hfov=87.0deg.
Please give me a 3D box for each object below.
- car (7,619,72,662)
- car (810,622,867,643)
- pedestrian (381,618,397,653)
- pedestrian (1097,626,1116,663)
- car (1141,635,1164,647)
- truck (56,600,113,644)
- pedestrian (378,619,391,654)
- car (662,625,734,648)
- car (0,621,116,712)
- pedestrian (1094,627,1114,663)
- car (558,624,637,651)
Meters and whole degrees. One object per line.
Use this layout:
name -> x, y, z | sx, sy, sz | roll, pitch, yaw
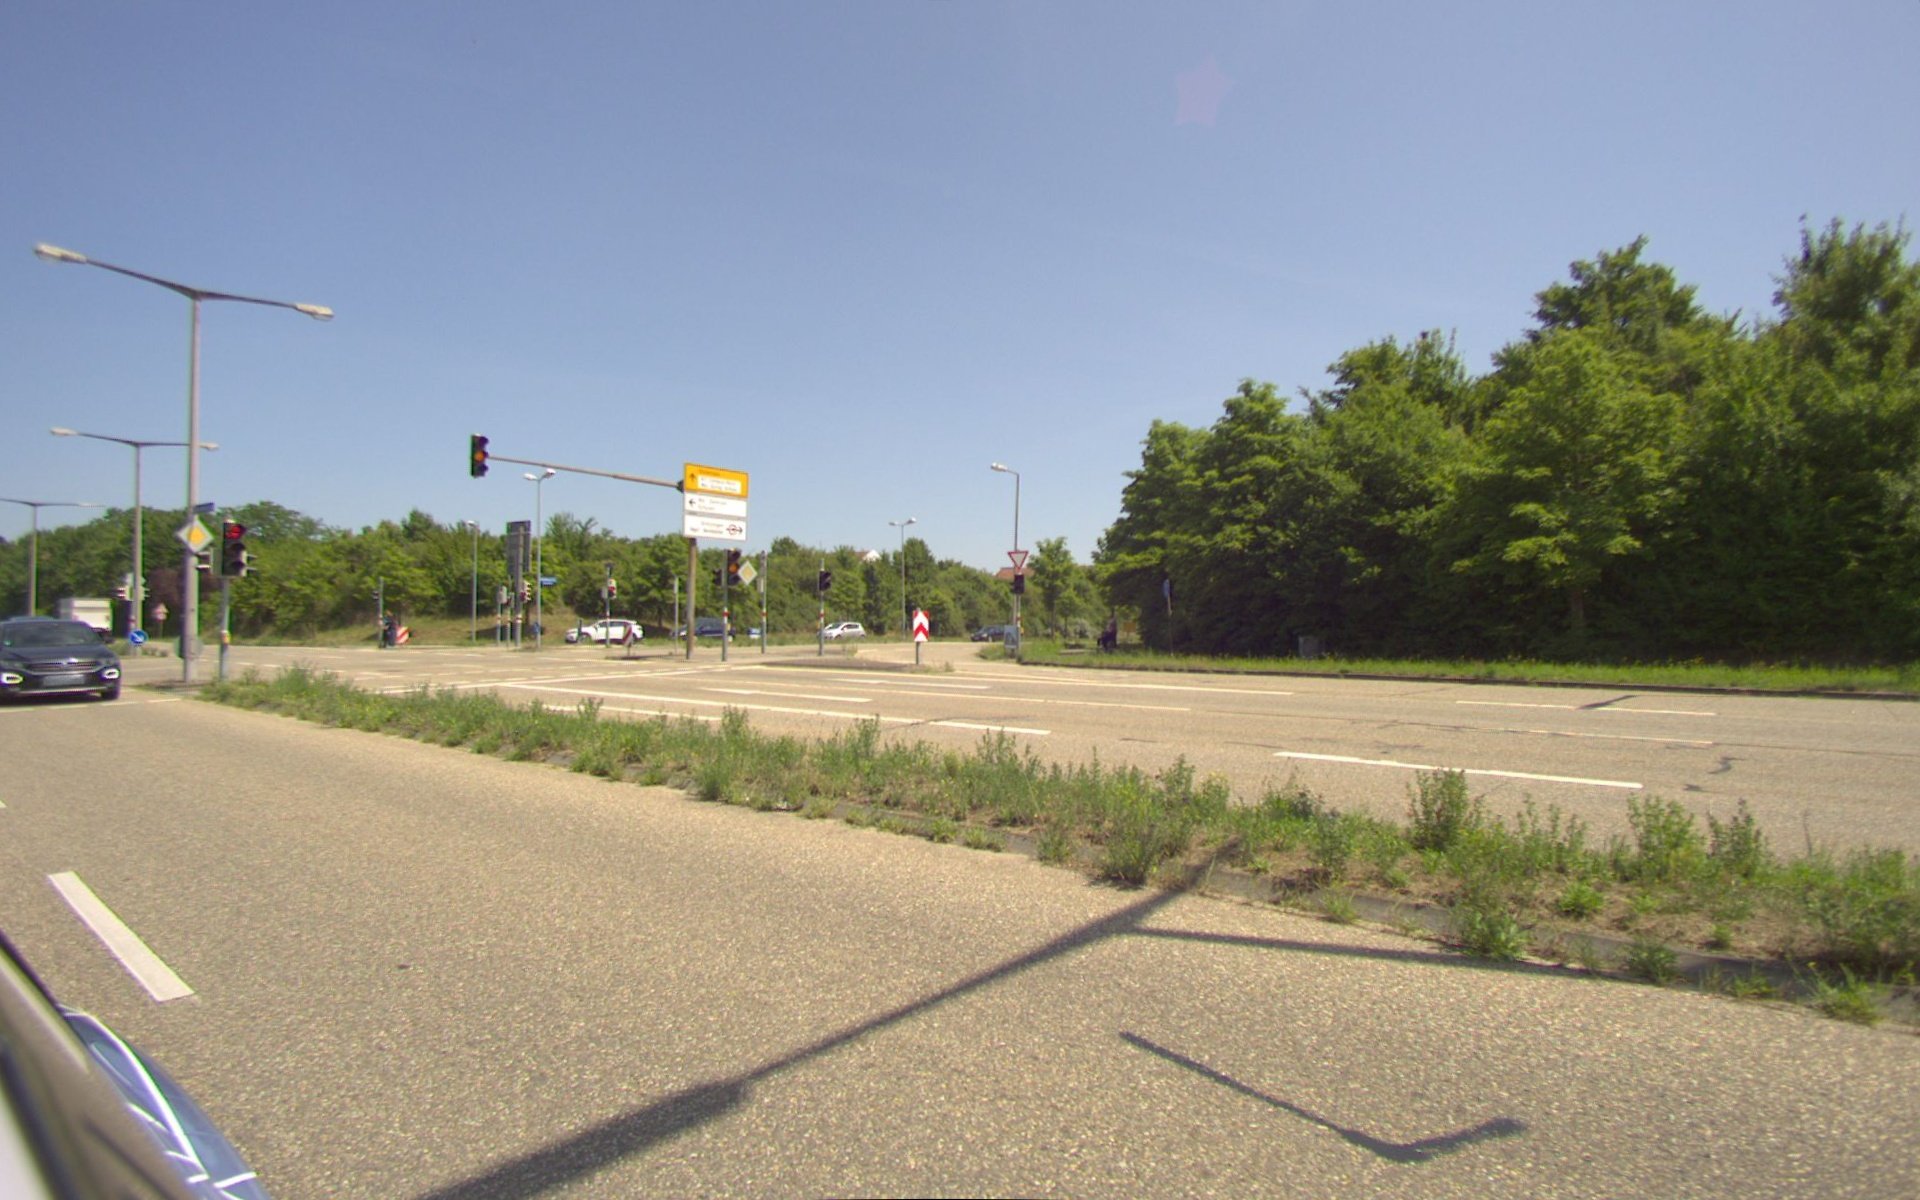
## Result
car -> -41.020, 1.775, 45.089 | 4.320, 1.840, 1.713 | -2, -2, 42
car -> -8.371, 2.246, 69.970 | 1.630, 1.371, 3.951 | -1, -2, 36
pedestrian -> -28.531, 1.754, 50.556 | 0.712, 1.712, 0.777 | 0, -2, -30
pedestrian -> 6.453, 1.942, 44.664 | 0.789, 1.615, 0.616 | 0, -2, 6
car -> 21.633, 4.606, 113.802 | 1.290, 1.133, 3.170 | -1, 0, 36
truck -> -73.708, 1.889, 85.193 | 7.264, 3.598, 2.659 | -2, -2, 41
pedestrian -> -29.119, 1.842, 51.214 | 0.573, 1.749, 0.795 | 0, -2, -29
car -> -15.520, 2.159, 59.999 | 1.700, 1.346, 3.950 | -2, -2, 37
car -> -17.549, 1.200, 19.257 | 3.969, 1.523, 1.716 | -1, 0, 42
pedestrian -> 6.204, 1.932, 43.651 | 0.789, 1.515, 0.616 | 0, -2, 6
car -> -22.062, 2.311, 61.621 | 4.237, 1.513, 1.884 | 2, -5, -34
